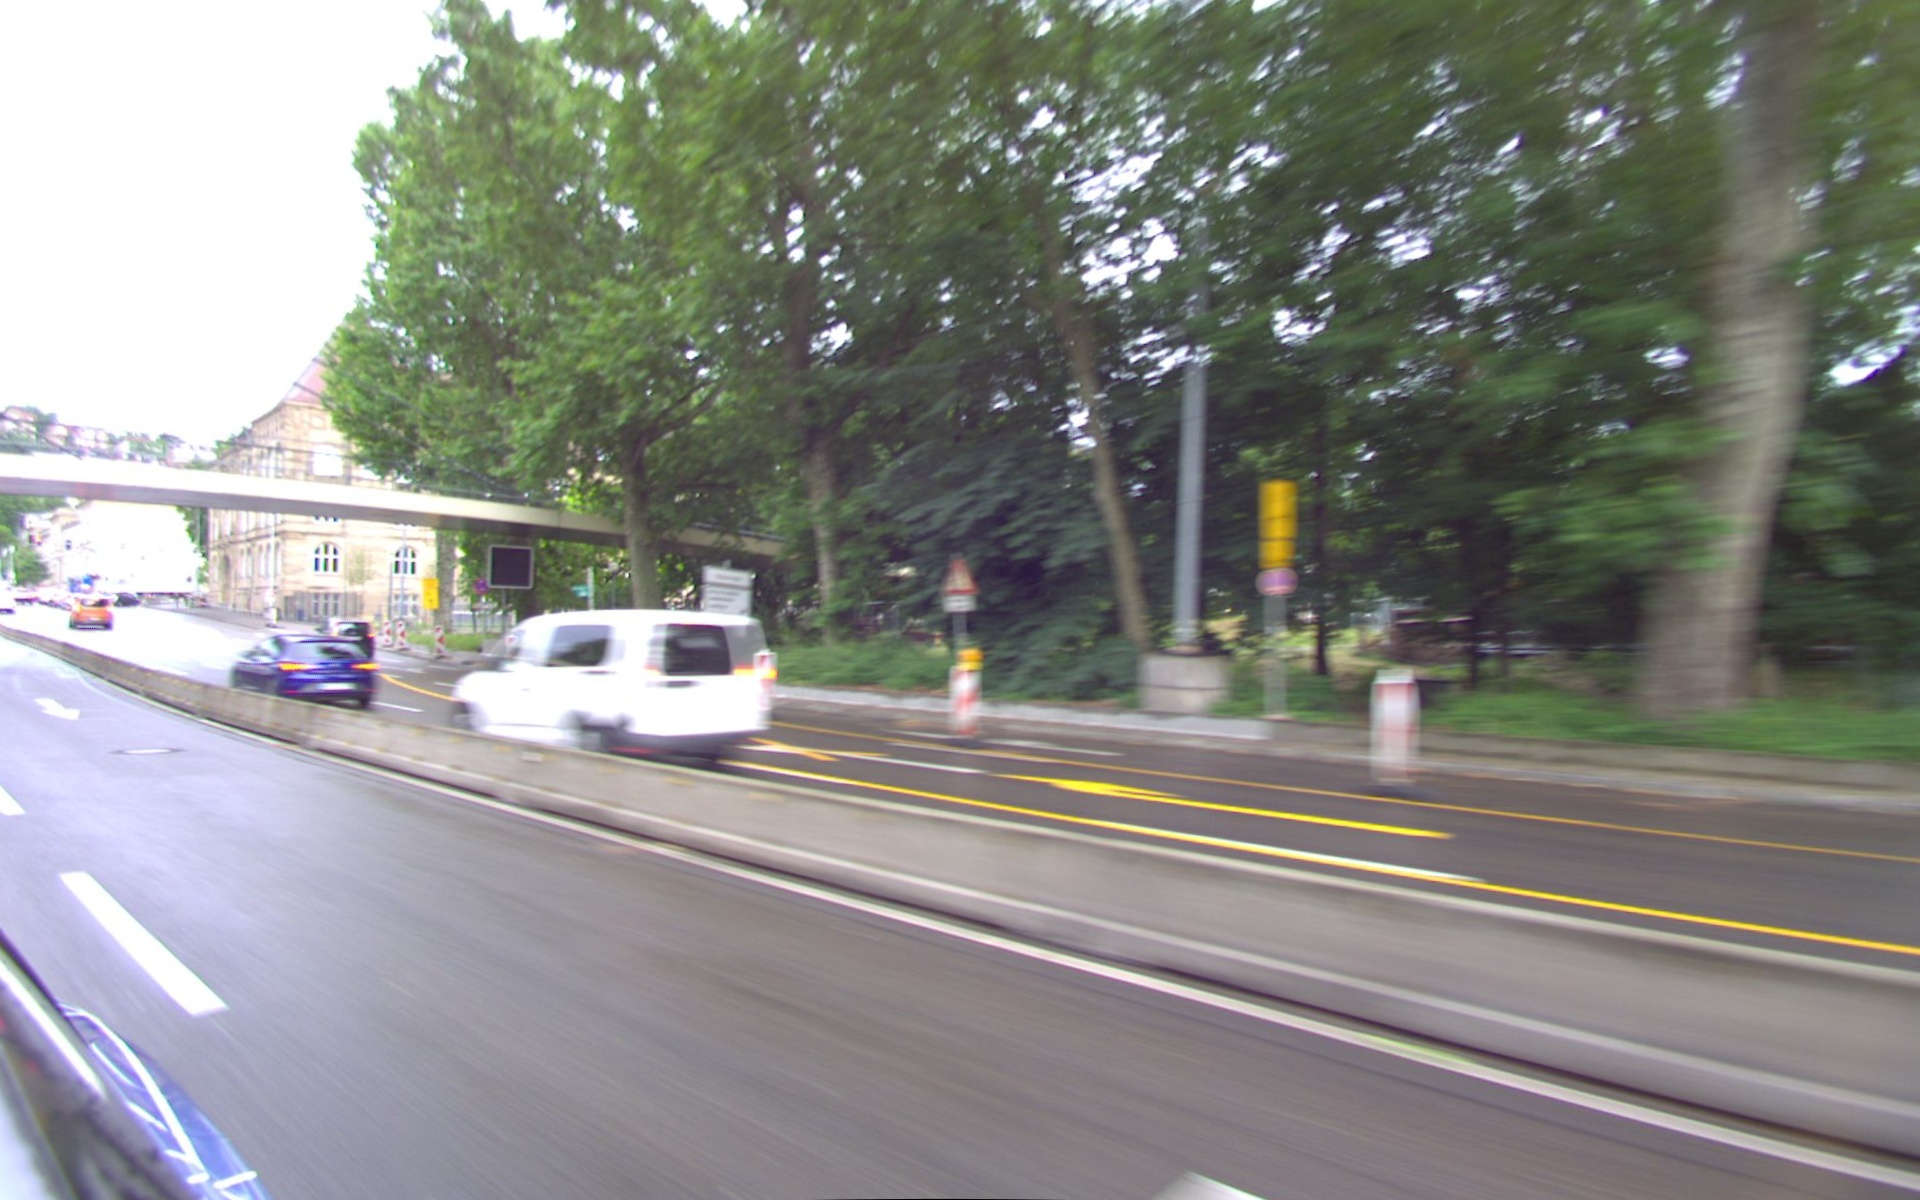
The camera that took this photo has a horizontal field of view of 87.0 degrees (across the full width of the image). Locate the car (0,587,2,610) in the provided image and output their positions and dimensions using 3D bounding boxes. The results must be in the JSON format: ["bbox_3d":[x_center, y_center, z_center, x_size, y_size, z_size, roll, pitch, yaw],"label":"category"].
[{"bbox_3d":[-81.059,-0.250,83.935,4.377,1.880,1.889,2,-2,41],"label":"car"}]

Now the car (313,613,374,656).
[{"bbox_3d":[-25.378,1.443,41.756,2.002,1.666,4.331,2,-3,-30],"label":"car"}]

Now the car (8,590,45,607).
[{"bbox_3d":[-91.072,-0.162,98.691,4.208,1.393,1.974,2,-2,39],"label":"car"}]

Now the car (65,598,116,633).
[{"bbox_3d":[-55.018,0.949,63.982,2.007,1.951,5.048,4,-2,-44],"label":"car"}]

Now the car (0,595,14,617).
[{"bbox_3d":[-75.624,0.397,79.115,4.896,1.579,1.874,2,-2,41],"label":"car"}]

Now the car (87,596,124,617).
[{"bbox_3d":[-91.393,0.657,108.281,3.991,2.029,1.976,2,-2,35],"label":"car"}]

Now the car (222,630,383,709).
[{"bbox_3d":[-13.095,1.342,20.062,4.062,1.349,1.693,0,-5,44],"label":"car"}]

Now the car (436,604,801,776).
[{"bbox_3d":[-4.296,0.932,12.267,4.910,1.666,2.009,0,-3,42],"label":"car"}]

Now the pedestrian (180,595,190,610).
[{"bbox_3d":[-84.234,0.235,110.010,0.733,1.596,0.611,2,-2,36],"label":"pedestrian"}]

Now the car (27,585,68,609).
[{"bbox_3d":[-86.174,-0.270,95.561,3.991,2.029,1.976,2,-2,35],"label":"car"}]

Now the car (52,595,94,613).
[{"bbox_3d":[-79.520,0.384,90.727,4.206,1.393,1.975,2,-2,37],"label":"car"}]

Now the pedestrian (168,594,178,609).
[{"bbox_3d":[-85.176,0.120,109.534,0.735,1.596,0.609,2,-2,43],"label":"pedestrian"}]
